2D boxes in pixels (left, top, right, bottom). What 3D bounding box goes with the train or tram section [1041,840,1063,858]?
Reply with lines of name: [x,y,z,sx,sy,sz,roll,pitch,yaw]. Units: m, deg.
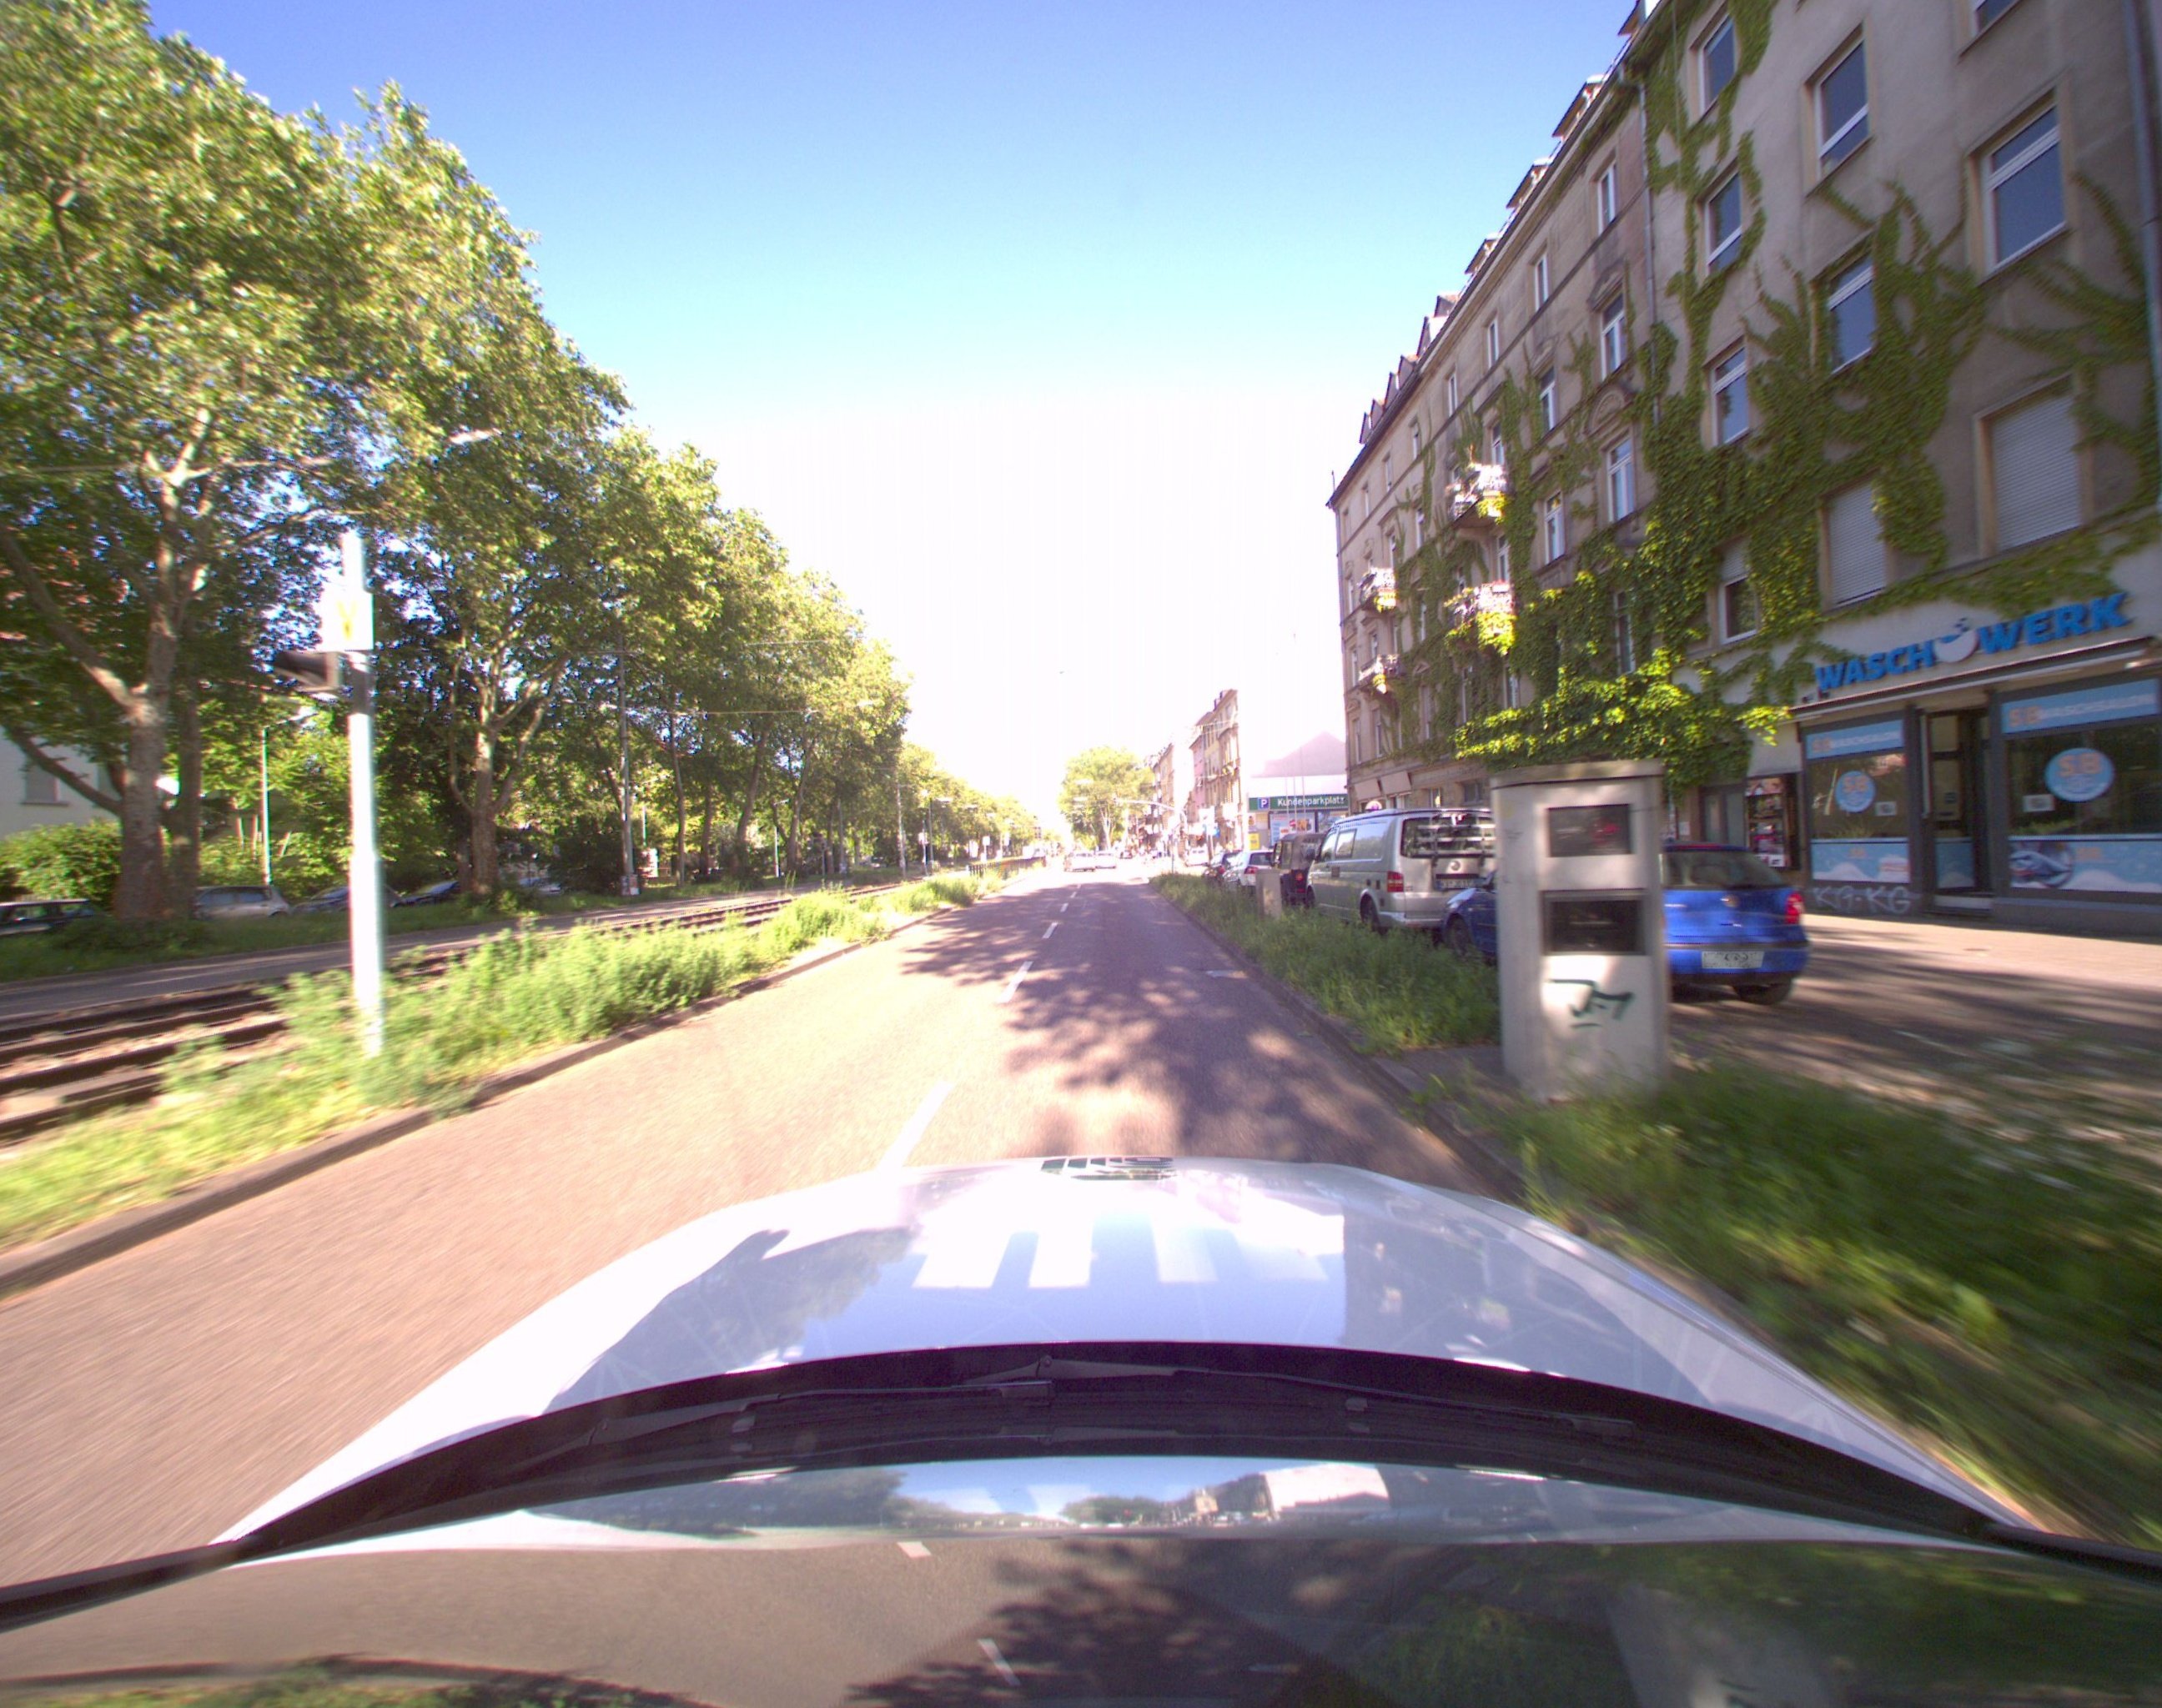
train or tram section: [-6.666,-1.074,189.430,3.954,3.865,17.494,-2,0,1]

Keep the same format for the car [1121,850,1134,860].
car: [6.623,0.131,116.688,1.730,1.433,3.677,-1,0,0]

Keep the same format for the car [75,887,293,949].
car: [-26.974,1.869,24.750,1.729,1.440,4.320,-2,0,2]

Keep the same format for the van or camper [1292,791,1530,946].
van or camper: [5.110,0.182,13.542,1.877,2.013,5.095,-2,0,0]

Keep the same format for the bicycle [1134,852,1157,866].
bicycle: [5.504,0.451,69.216,0.763,1.102,1.930,-2,0,-42]

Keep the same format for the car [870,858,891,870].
car: [-26.396,1.276,107.186,1.664,1.509,4.144,-2,0,0]

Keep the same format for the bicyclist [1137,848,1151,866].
bicyclist: [5.349,0.256,69.374,0.749,1.462,0.942,0,0,-31]

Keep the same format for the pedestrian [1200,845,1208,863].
pedestrian: [12.419,-0.042,82.523,0.670,1.806,0.531,-2,0,1]

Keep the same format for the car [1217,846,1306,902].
car: [5.272,0.547,24.256,1.733,1.517,3.999,0,0,-1]

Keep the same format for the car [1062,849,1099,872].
car: [-0.066,0.417,56.488,1.612,1.467,3.870,-2,0,-15]

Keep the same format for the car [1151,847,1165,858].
car: [11.007,-0.223,116.921,1.729,1.519,3.637,-1,0,1]

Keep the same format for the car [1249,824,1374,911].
car: [5.285,0.268,19.227,1.857,1.764,4.002,-2,0,2]

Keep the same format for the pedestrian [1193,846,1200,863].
pedestrian: [11.711,0.017,82.592,0.547,1.708,0.389,-2,0,4]

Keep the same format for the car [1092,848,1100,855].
car: [4.328,-0.634,235.079,1.986,2.013,4.001,-2,0,1]

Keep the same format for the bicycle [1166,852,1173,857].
bicycle: [13.367,0.095,122.821,0.752,0.770,1.945,-2,0,0]

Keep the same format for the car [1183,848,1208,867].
car: [9.656,0.237,68.774,1.557,1.415,4.005,-5,0,1]

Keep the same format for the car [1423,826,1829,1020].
car: [5.158,0.539,8.411,1.585,1.479,3.828,-2,0,0]

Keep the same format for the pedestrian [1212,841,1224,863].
pedestrian: [11.339,-0.149,67.249,0.762,1.755,0.510,-2,0,-19]

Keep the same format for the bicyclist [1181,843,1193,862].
bicyclist: [8.480,-0.131,65.080,0.674,1.446,1.182,-6,0,1]

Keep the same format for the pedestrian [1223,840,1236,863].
pedestrian: [11.919,-0.221,65.339,0.762,1.841,0.744,-2,0,-16]

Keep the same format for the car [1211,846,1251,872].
car: [9.805,0.293,53.655,1.826,1.487,4.736,-5,0,2]

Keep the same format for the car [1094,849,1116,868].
car: [1.912,0.345,66.115,1.734,1.467,4.001,0,0,1]

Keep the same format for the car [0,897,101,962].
car: [-27.064,1.924,19.850,1.768,1.464,3.699,-2,0,2]

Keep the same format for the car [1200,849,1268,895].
car: [5.302,0.582,28.646,1.635,1.517,3.999,0,0,-1]

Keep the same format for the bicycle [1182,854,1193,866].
bicycle: [8.526,0.469,65.153,0.647,0.920,1.919,-2,0,2]

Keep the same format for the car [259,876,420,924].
car: [-26.915,1.614,29.781,1.778,1.441,4.320,-2,0,2]
